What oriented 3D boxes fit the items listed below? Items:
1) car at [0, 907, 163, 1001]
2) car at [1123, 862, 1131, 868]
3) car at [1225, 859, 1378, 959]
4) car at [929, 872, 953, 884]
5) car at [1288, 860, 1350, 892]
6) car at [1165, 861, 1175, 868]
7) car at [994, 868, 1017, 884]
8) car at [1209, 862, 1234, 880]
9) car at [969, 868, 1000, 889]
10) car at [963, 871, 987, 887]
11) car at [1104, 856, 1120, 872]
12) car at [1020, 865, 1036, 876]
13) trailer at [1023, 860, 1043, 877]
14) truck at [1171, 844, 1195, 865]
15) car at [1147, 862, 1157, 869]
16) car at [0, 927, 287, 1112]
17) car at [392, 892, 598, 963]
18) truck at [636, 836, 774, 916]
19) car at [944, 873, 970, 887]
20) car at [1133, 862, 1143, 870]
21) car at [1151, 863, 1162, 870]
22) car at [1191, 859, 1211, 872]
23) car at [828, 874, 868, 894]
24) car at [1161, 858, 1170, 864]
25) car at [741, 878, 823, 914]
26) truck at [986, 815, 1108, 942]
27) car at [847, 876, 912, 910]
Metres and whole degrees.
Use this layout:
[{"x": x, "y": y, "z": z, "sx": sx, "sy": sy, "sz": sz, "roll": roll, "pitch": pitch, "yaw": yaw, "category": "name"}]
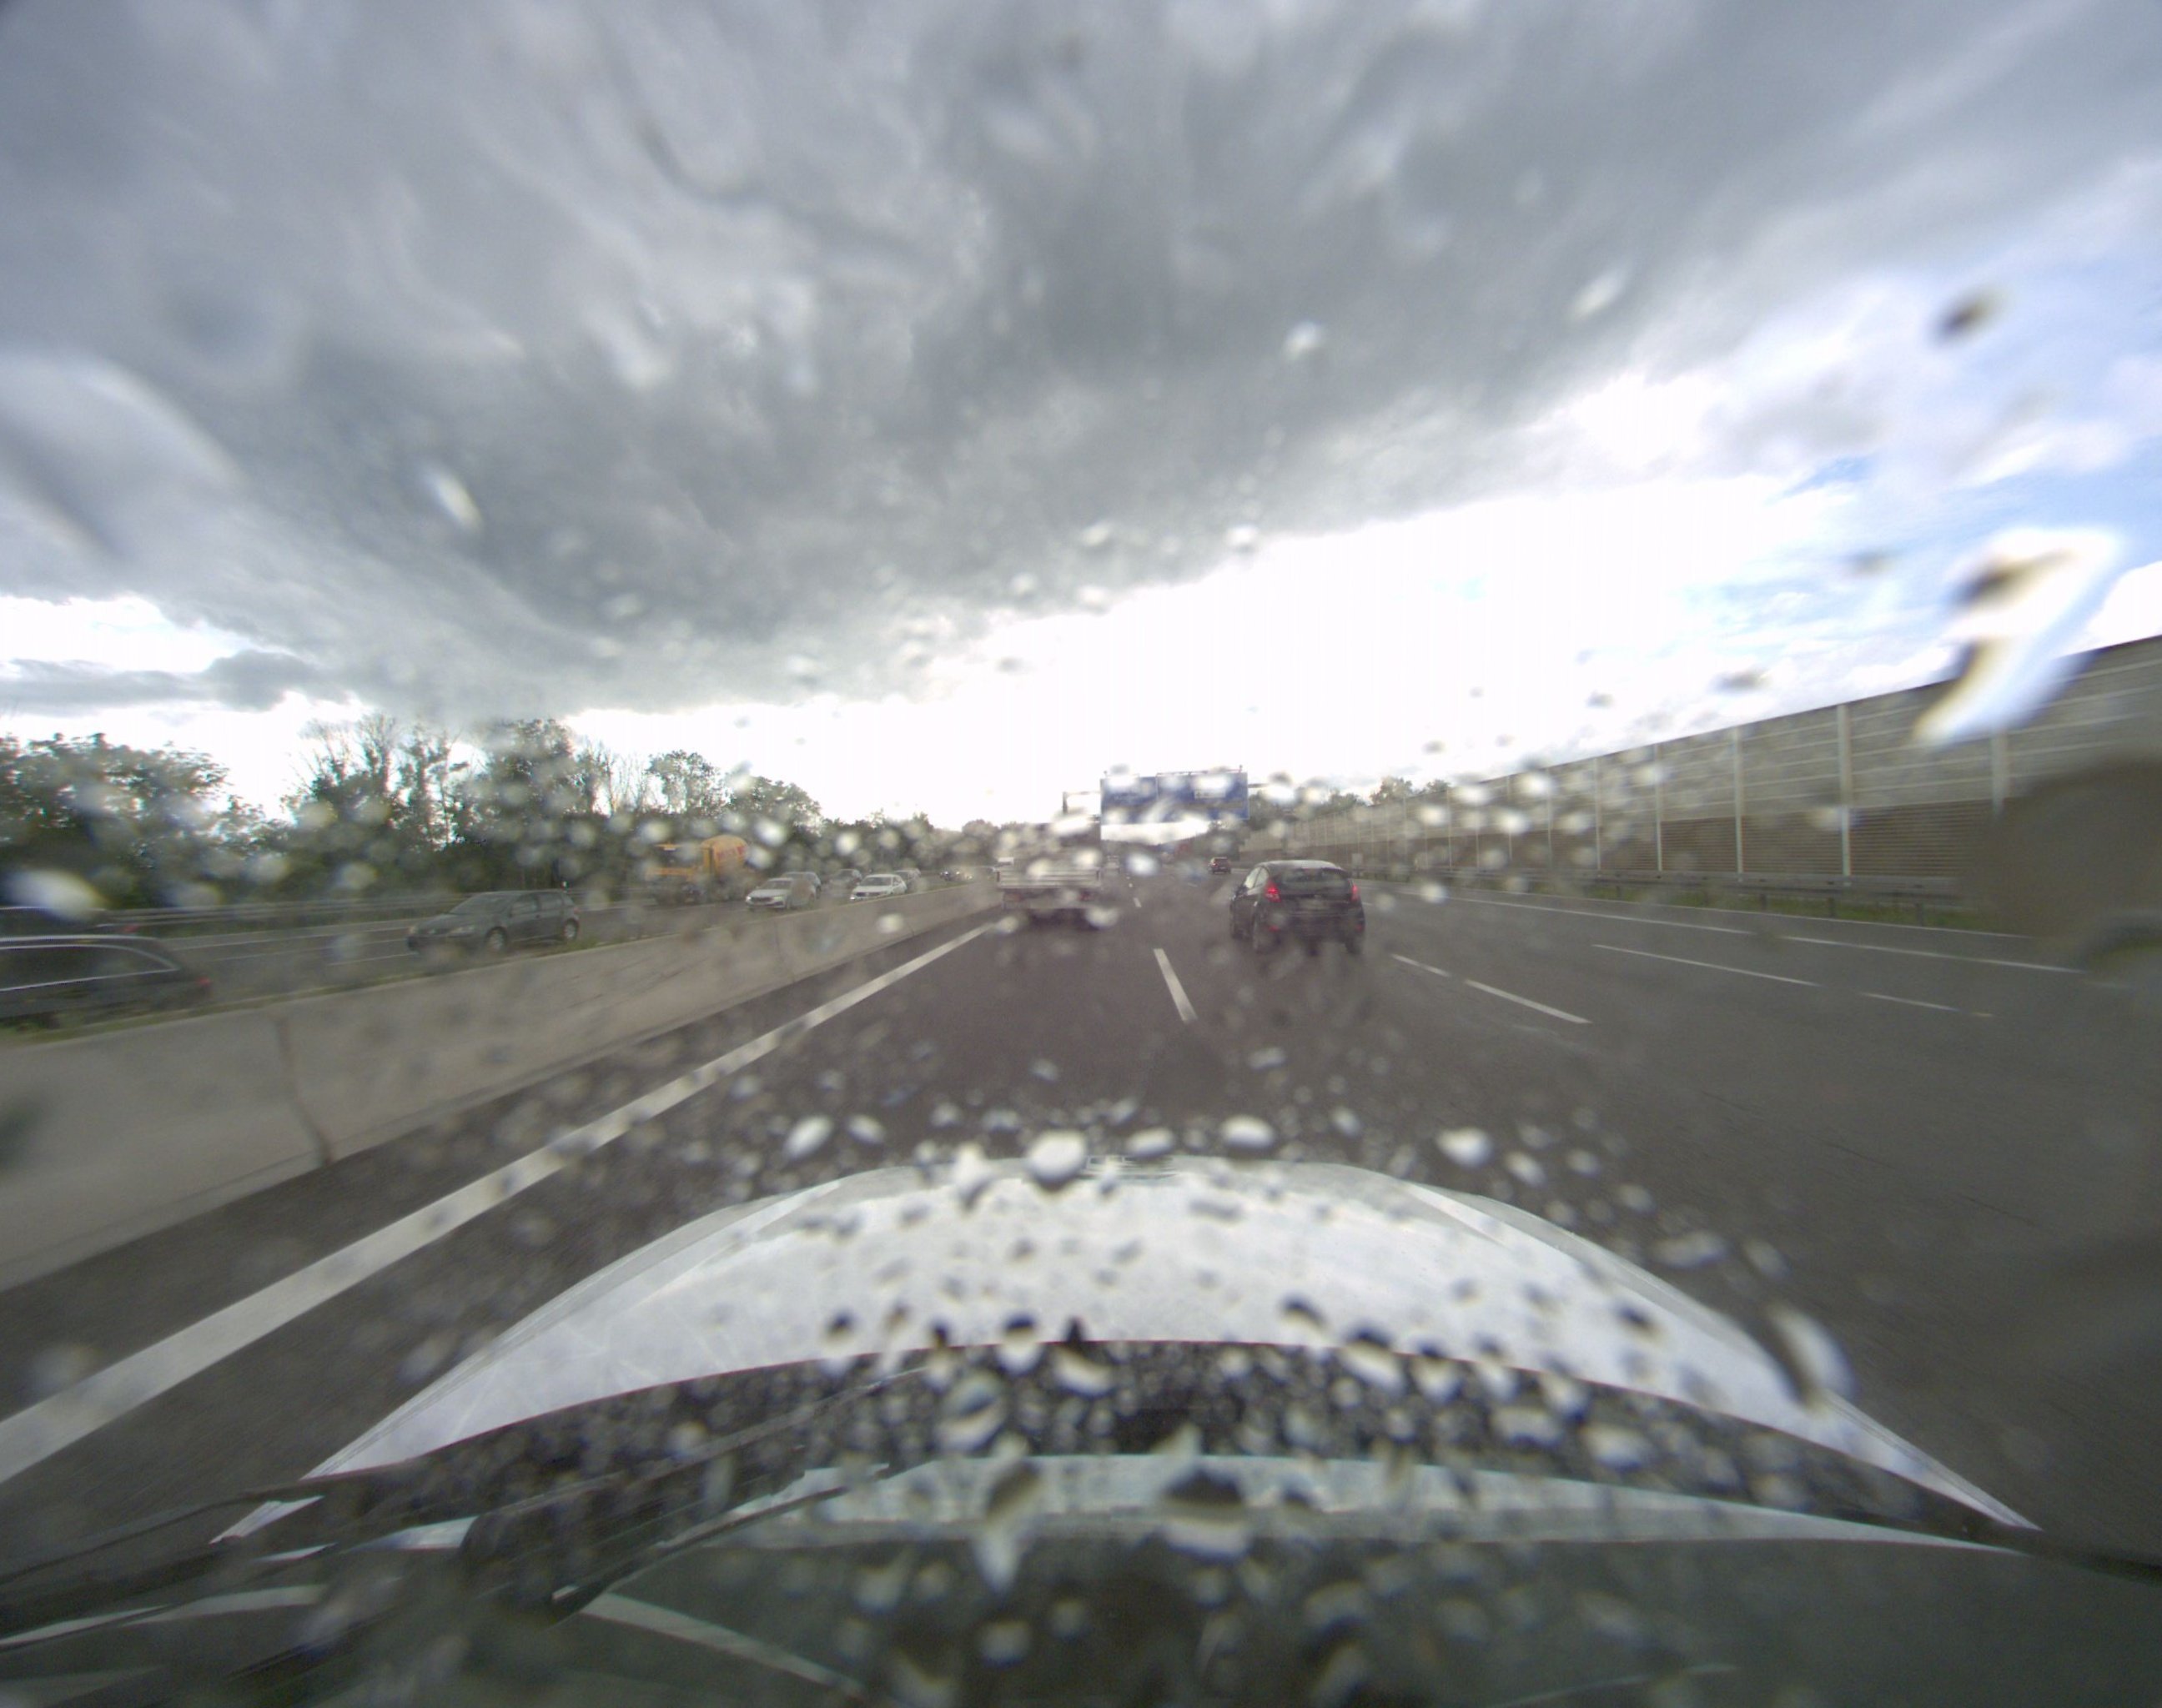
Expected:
[{"x": -18.589, "y": 1.701, "z": 13.379, "sx": 1.716, "sy": 1.428, "sz": 4.522, "roll": 0, "pitch": -1, "yaw": 3, "category": "car"}, {"x": 12.197, "y": 2.851, "z": 217.002, "sx": 1.961, "sy": 1.561, "sz": 4.433, "roll": -2, "pitch": -1, "yaw": 1, "category": "car"}, {"x": 3.556, "y": 0.819, "z": 13.883, "sx": 1.710, "sy": 1.417, "sz": 4.283, "roll": -1, "pitch": -1, "yaw": 4, "category": "car"}, {"x": -18.402, "y": 3.128, "z": 107.238, "sx": 1.974, "sy": 1.494, "sz": 4.916, "roll": -2, "pitch": -1, "yaw": 3, "category": "car"}, {"x": 11.478, "y": 1.041, "z": 39.596, "sx": 1.942, "sy": 1.418, "sz": 4.235, "roll": -1, "pitch": -1, "yaw": 3, "category": "car"}, {"x": 22.273, "y": 2.601, "z": 203.480, "sx": 1.961, "sy": 1.561, "sz": 4.433, "roll": -2, "pitch": -1, "yaw": 1, "category": "car"}, {"x": -7.484, "y": 2.157, "z": 81.094, "sx": 1.716, "sy": 1.603, "sz": 4.915, "roll": 0, "pitch": -1, "yaw": 2, "category": "car"}, {"x": 13.225, "y": 1.600, "z": 76.862, "sx": 1.874, "sy": 1.542, "sz": 4.437, "roll": -2, "pitch": -1, "yaw": 4, "category": "car"}, {"x": -7.788, "y": 1.968, "z": 66.286, "sx": 1.716, "sy": 1.603, "sz": 4.917, "roll": 0, "pitch": -1, "yaw": 3, "category": "car"}, {"x": -11.010, "y": 2.571, "z": 84.620, "sx": 1.716, "sy": 1.494, "sz": 4.915, "roll": 0, "pitch": -1, "yaw": 2, "category": "car"}, {"x": 3.436, "y": 1.118, "z": 89.801, "sx": 1.710, "sy": 1.624, "sz": 4.282, "roll": -1, "pitch": 0, "yaw": 3, "category": "car"}, {"x": -8.183, "y": 2.619, "z": 126.448, "sx": 1.810, "sy": 1.678, "sz": 4.482, "roll": 0, "pitch": -1, "yaw": 4, "category": "car"}, {"x": -7.753, "y": 2.307, "z": 132.340, "sx": 2.331, "sy": 2.653, "sz": 7.190, "roll": -2, "pitch": -1, "yaw": 4, "category": "trailer"}, {"x": 18.420, "y": 0.140, "z": 147.873, "sx": 3.141, "sy": 3.601, "sz": 12.701, "roll": 0, "pitch": 0, "yaw": 1, "category": "truck"}, {"x": 17.264, "y": 2.752, "z": 198.176, "sx": 1.962, "sy": 1.561, "sz": 4.431, "roll": -2, "pitch": -1, "yaw": 0, "category": "car"}, {"x": -10.357, "y": 1.548, "z": 7.004, "sx": 1.716, "sy": 1.428, "sz": 5.234, "roll": 0, "pitch": -1, "yaw": 3, "category": "car"}, {"x": -14.465, "y": 1.746, "z": 20.481, "sx": 1.716, "sy": 1.428, "sz": 4.522, "roll": 0, "pitch": -1, "yaw": 3, "category": "car"}, {"x": -20.817, "y": 1.151, "z": 45.927, "sx": 2.903, "sy": 4.014, "sz": 9.589, "roll": -1, "pitch": -1, "yaw": 3, "category": "truck"}, {"x": -14.101, "y": 2.921, "z": 92.927, "sx": 1.974, "sy": 1.494, "sz": 4.916, "roll": -2, "pitch": -1, "yaw": 3, "category": "car"}, {"x": 11.681, "y": 2.482, "z": 166.982, "sx": 1.961, "sy": 1.561, "sz": 4.433, "roll": -2, "pitch": -1, "yaw": 1, "category": "car"}, {"x": 16.365, "y": 2.715, "z": 175.844, "sx": 1.961, "sy": 1.561, "sz": 4.433, "roll": -2, "pitch": -1, "yaw": 1, "category": "car"}, {"x": 15.567, "y": 1.528, "z": 105.859, "sx": 1.876, "sy": 1.561, "sz": 4.433, "roll": -2, "pitch": -1, "yaw": 1, "category": "car"}, {"x": -19.357, "y": 2.469, "z": 67.809, "sx": 1.716, "sy": 1.603, "sz": 4.917, "roll": 0, "pitch": -1, "yaw": 3, "category": "car"}, {"x": 23.549, "y": 1.961, "z": 227.314, "sx": 1.961, "sy": 1.561, "sz": 4.433, "roll": -2, "pitch": -1, "yaw": 1, "category": "car"}, {"x": -13.552, "y": 1.849, "z": 37.190, "sx": 1.716, "sy": 1.470, "sz": 4.852, "roll": 0, "pitch": -1, "yaw": 3, "category": "car"}, {"x": -0.543, "y": 0.461, "z": 19.362, "sx": 2.298, "sy": 2.439, "sz": 7.152, "roll": -1, "pitch": 0, "yaw": 2, "category": "truck"}, {"x": -9.236, "y": 1.768, "z": 37.730, "sx": 1.716, "sy": 1.428, "sz": 4.651, "roll": 0, "pitch": -1, "yaw": 2, "category": "car"}]
